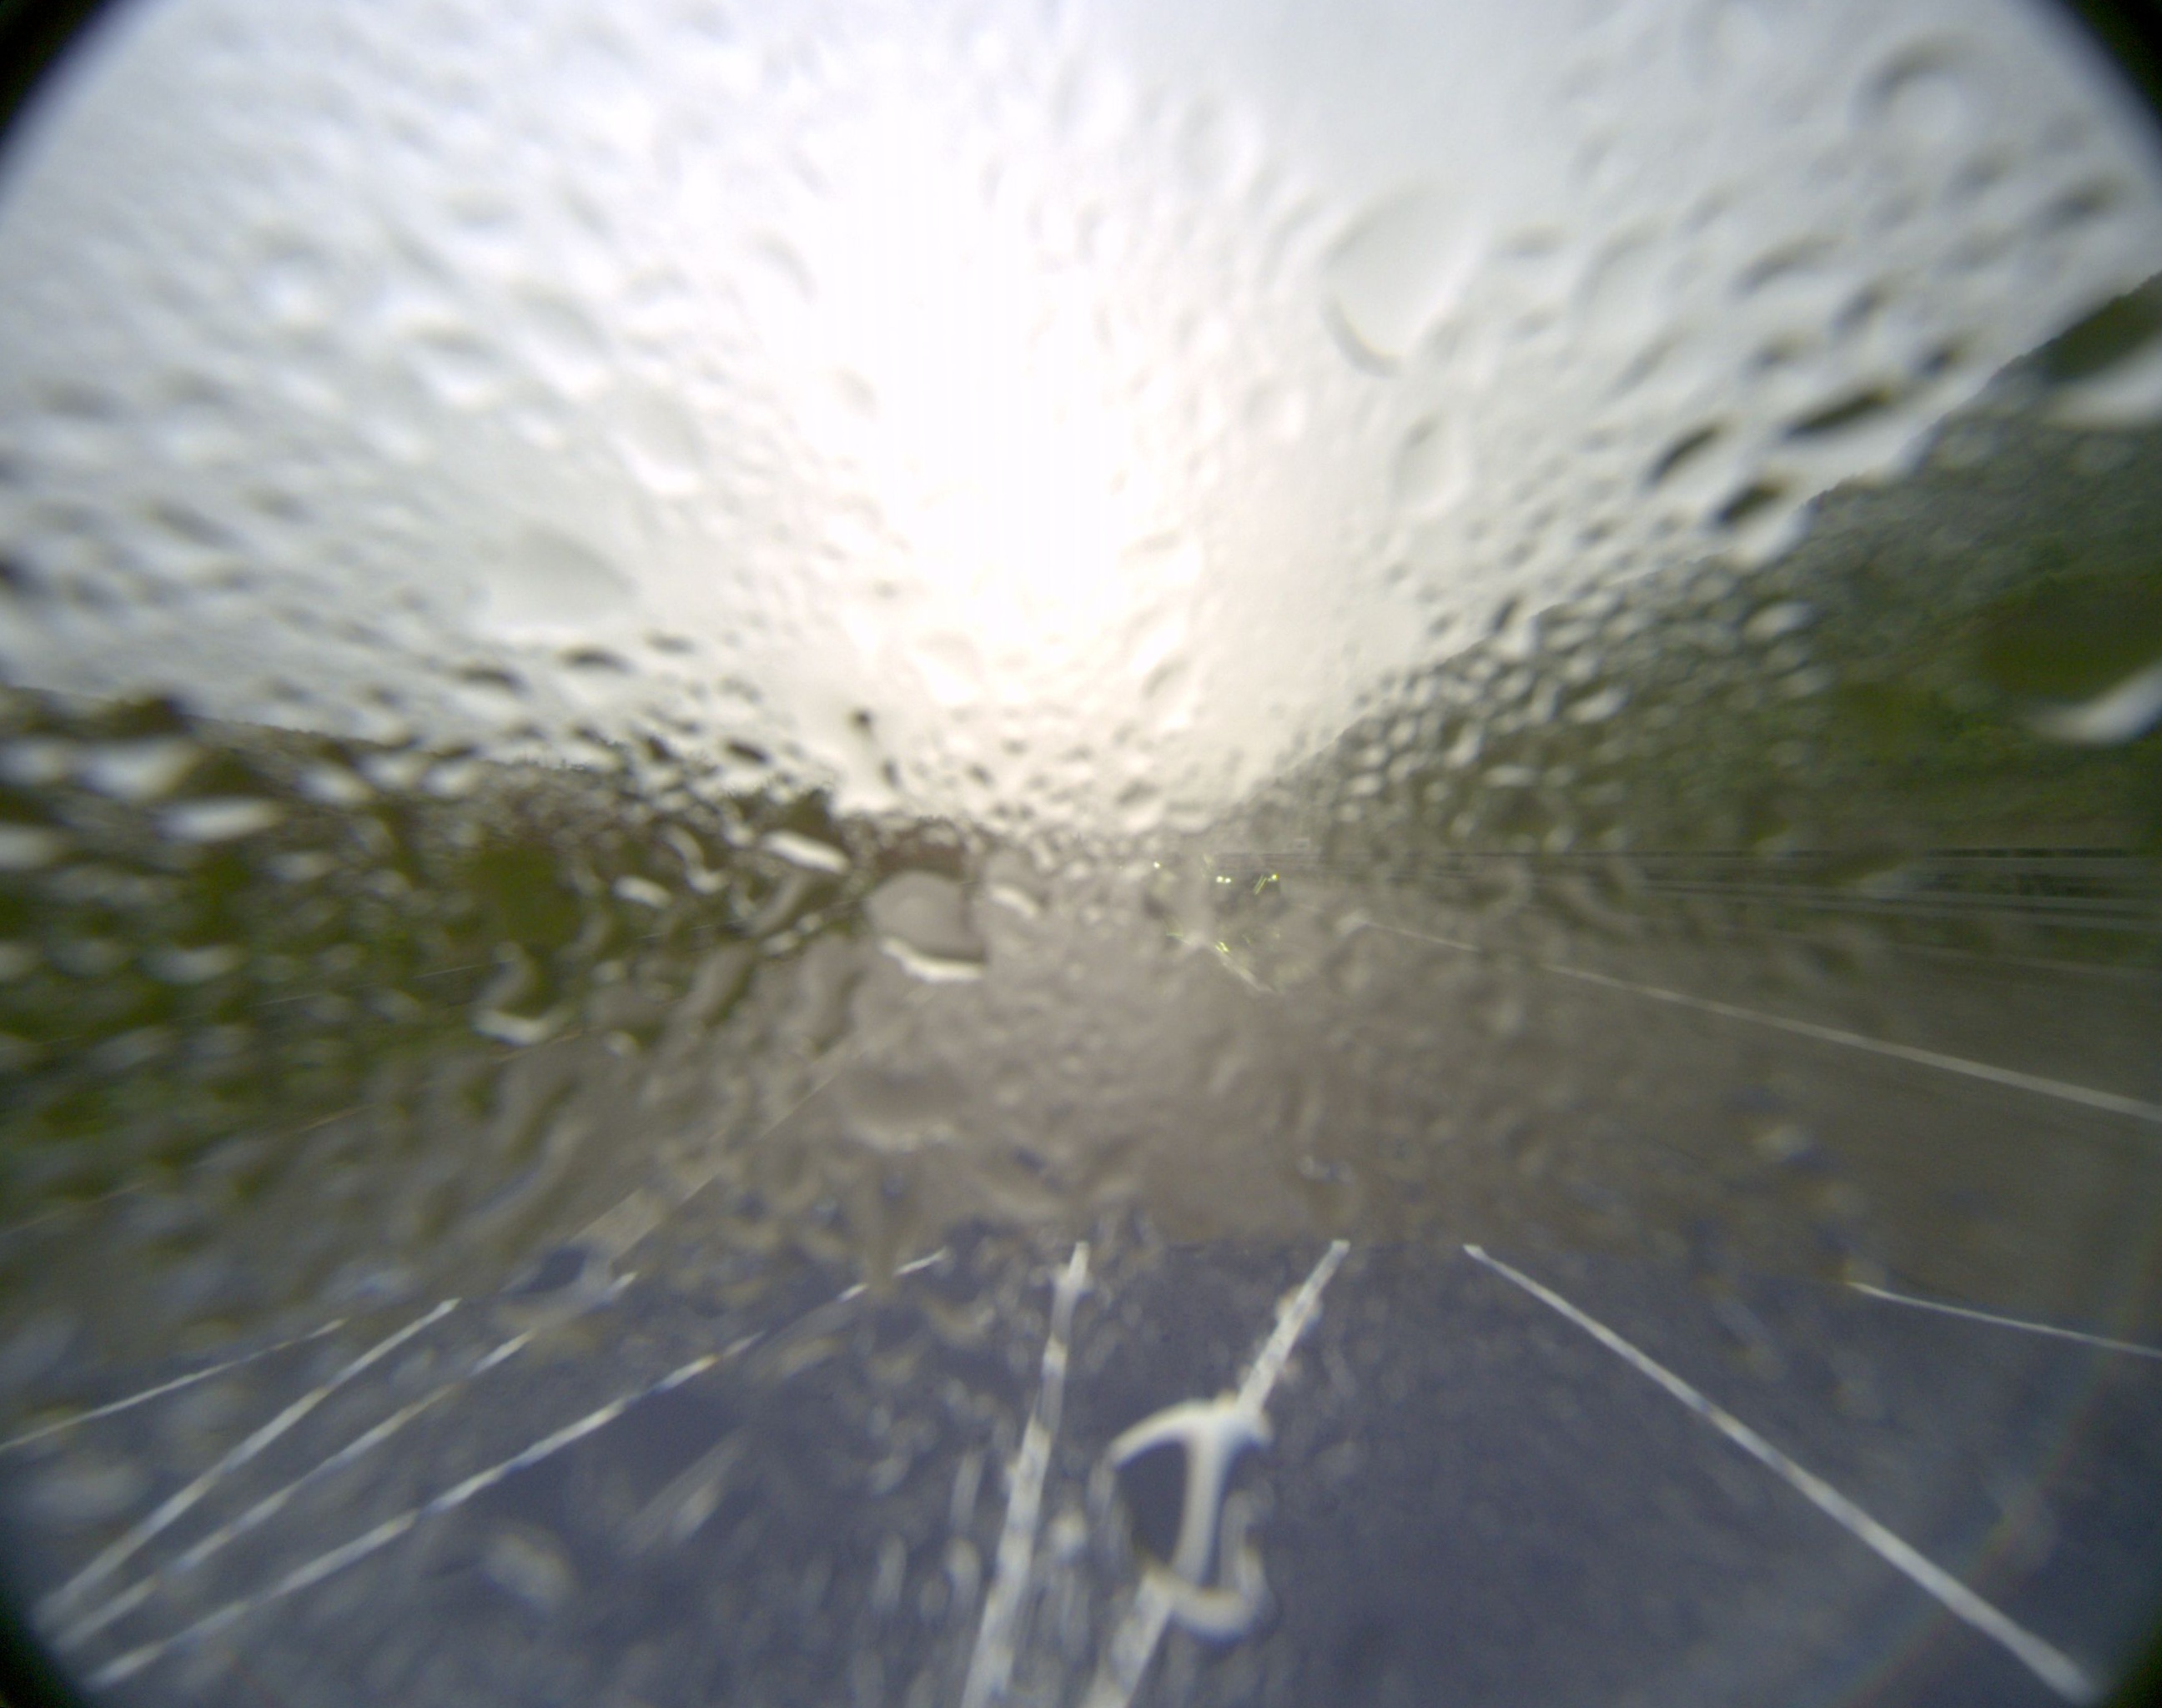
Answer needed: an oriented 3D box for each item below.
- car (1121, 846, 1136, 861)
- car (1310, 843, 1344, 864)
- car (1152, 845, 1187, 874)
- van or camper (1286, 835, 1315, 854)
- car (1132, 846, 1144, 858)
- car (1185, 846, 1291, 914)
[{"bbox_3d":[6.814,-0.068,108.494,1.836,2.002,3.938,-4,1,1],"label":"car"},{"bbox_3d":[23.172,-0.019,71.680,1.998,1.849,4.000,-2,0,2],"label":"car"},{"bbox_3d":[5.691,0.345,49.136,1.814,1.692,3.749,-3,1,2],"label":"car"},{"bbox_3d":[30.826,-1.300,107.122,2.349,2.549,7.207,-3,0,4],"label":"van or camper"},{"bbox_3d":[10.457,-0.381,139.103,1.998,2.001,4.002,-2,-1,3],"label":"car"},{"bbox_3d":[4.478,0.656,22.522,1.999,1.673,4.908,-4,1,0],"label":"car"}]
